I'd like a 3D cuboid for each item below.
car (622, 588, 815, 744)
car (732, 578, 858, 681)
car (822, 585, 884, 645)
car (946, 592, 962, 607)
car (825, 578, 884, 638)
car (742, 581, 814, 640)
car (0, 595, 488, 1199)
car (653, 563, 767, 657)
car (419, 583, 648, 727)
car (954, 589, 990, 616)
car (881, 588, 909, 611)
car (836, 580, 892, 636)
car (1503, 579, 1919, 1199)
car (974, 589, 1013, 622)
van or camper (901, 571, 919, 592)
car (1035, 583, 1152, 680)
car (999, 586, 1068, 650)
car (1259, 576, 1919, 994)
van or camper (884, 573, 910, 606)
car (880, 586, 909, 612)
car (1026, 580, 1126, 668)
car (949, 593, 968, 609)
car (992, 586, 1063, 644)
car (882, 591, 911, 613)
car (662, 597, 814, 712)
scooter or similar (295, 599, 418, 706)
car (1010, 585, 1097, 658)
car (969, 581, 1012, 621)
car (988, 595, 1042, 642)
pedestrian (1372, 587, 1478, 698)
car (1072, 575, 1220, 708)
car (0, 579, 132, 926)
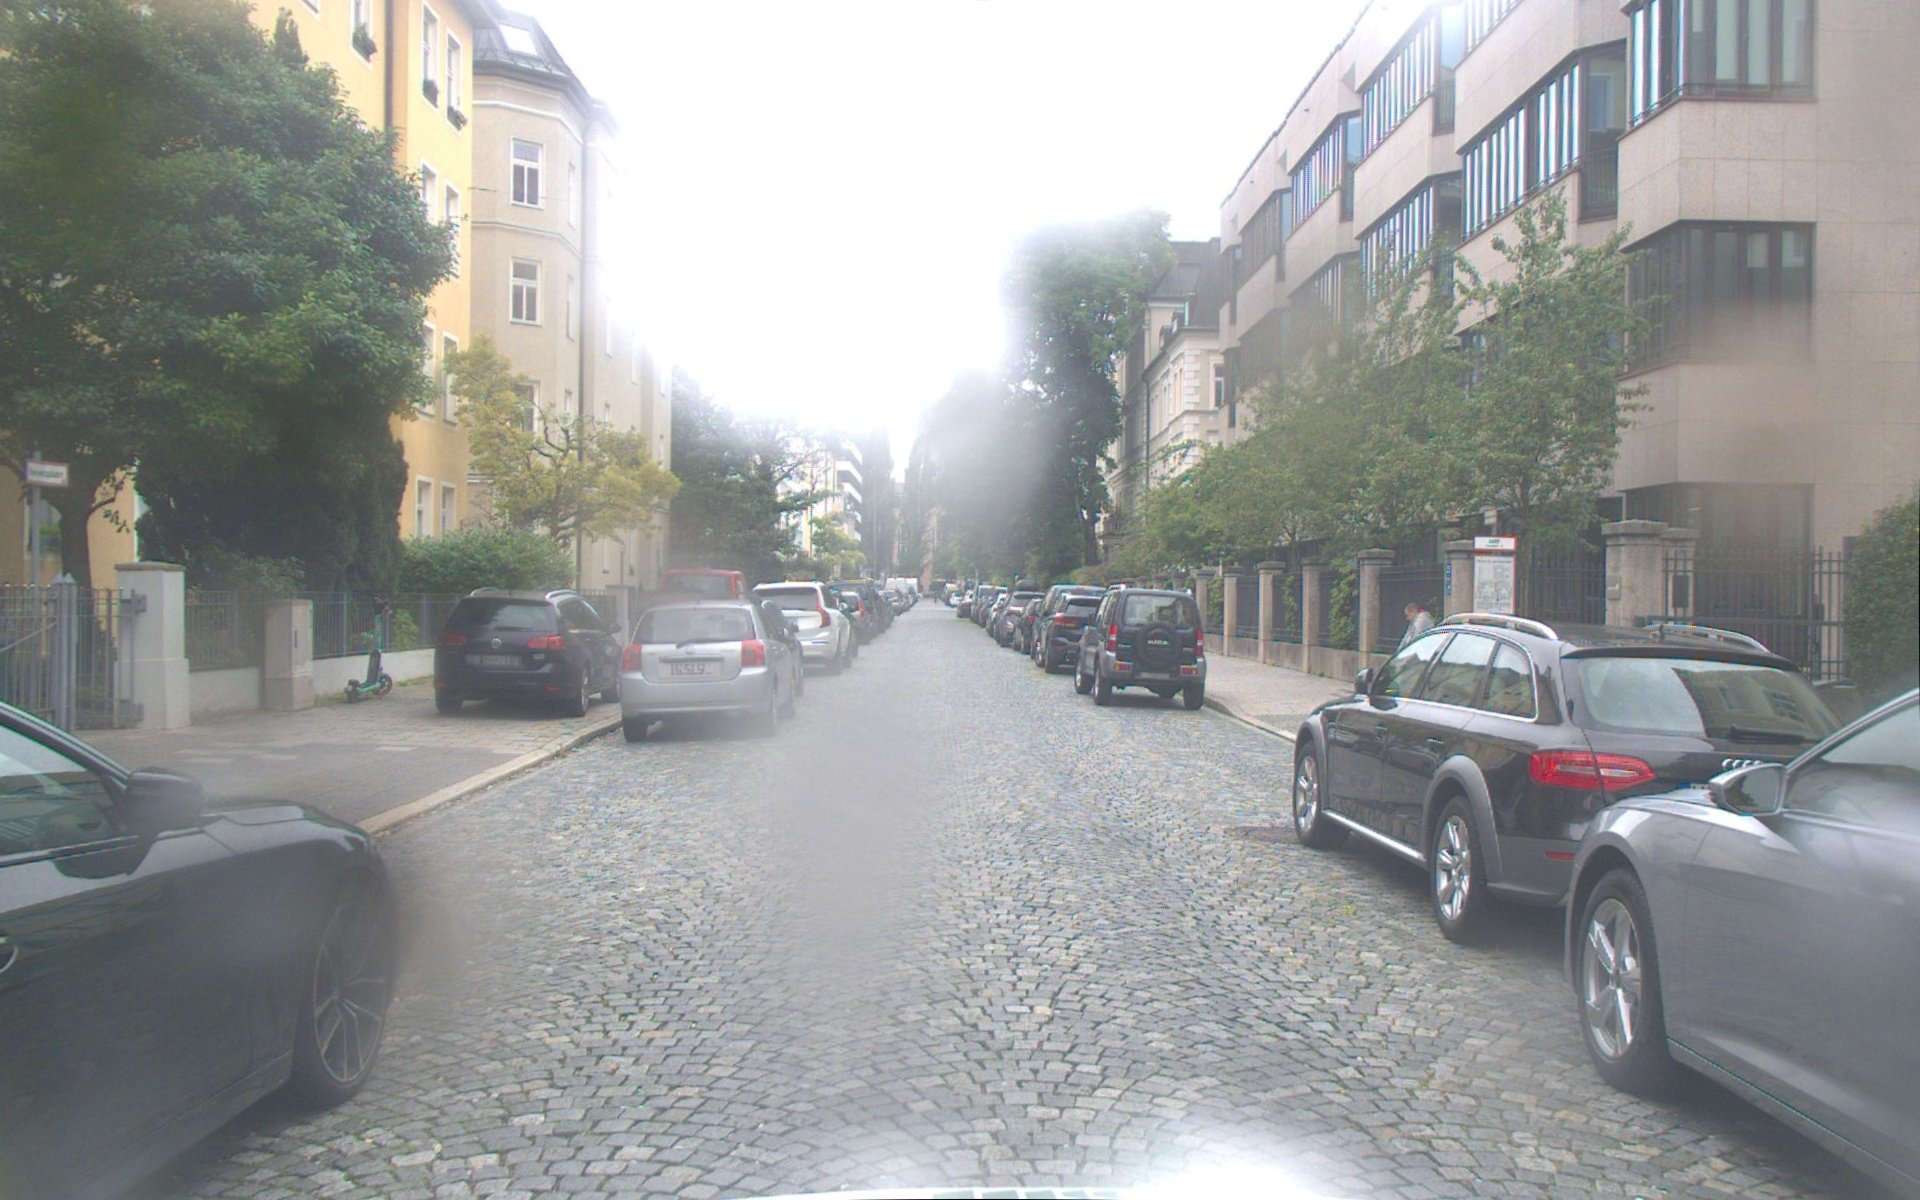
[{"bbox_3d":[-2.701,0.676,19.389,1.679,1.589,4.389,-1,0,-1],"label":"car"},{"bbox_3d":[-3.161,0.524,32.748,1.965,1.840,5.174,-1,0,0],"label":"car"},{"bbox_3d":[-3.373,0.432,52.261,1.828,1.765,4.400,-2,0,-4],"label":"car"},{"bbox_3d":[-0.654,-0.047,183.034,1.753,1.547,4.000,1,0,-1],"label":"car"},{"bbox_3d":[-3.609,0.249,57.344,1.835,1.950,4.825,-2,0,-2],"label":"car"},{"bbox_3d":[-5.974,0.310,54.791,1.906,1.765,4.656,3,0,-2],"label":"car"},{"bbox_3d":[-2.600,0.760,3.480,1.777,1.480,4.912,-2,0,0],"label":"car"},{"bbox_3d":[-5.678,0.201,38.248,1.954,1.964,5.328,2,0,-2],"label":"car"},{"bbox_3d":[-5.199,0.605,20.811,1.680,1.523,4.720,3,0,-1],"label":"car"},{"bbox_3d":[0.714,0.130,100.670,1.836,1.529,4.508,3,0,-3],"label":"car"},{"bbox_3d":[-4.526,-0.036,114.586,1.836,1.476,4.205,-1,0,-3],"label":"car"},{"bbox_3d":[-3.655,0.275,63.760,1.953,1.950,5.175,-3,0,-2],"label":"car"},{"bbox_3d":[3.095,0.781,3.856,1.953,1.579,4.985,2,0,0],"label":"car"},{"bbox_3d":[1.662,0.242,82.995,1.800,1.516,4.421,3,0,0],"label":"car"},{"bbox_3d":[-6.806,-2.531,225.862,2.210,2.790,5.097,1,0,-1],"label":"van or camper"},{"bbox_3d":[2.638,0.593,33.720,1.823,1.731,4.812,3,0,-1],"label":"car"},{"bbox_3d":[2.166,0.504,50.179,1.835,1.765,4.891,3,0,0],"label":"car"},{"bbox_3d":[3.151,0.734,9.075,1.953,1.579,5.013,3,0,-1],"label":"car"},{"bbox_3d":[-5.358,-0.926,141.312,1.953,2.698,4.000,-2,0,-1],"label":"van or camper"},{"bbox_3d":[-4.312,-0.051,108.508,1.836,1.607,4.253,-2,0,-3],"label":"car"},{"bbox_3d":[2.676,0.533,39.162,1.753,1.827,4.507,4,0,-3],"label":"car"},{"bbox_3d":[-0.165,0.062,162.322,1.753,1.547,4.000,1,0,-1],"label":"car"},{"bbox_3d":[2.226,0.472,55.998,1.836,1.765,4.744,4,0,-3],"label":"car"},{"bbox_3d":[-4.849,0.163,126.350,1.834,1.607,4.209,3,0,2],"label":"car"},{"bbox_3d":[-3.088,0.711,23.724,1.695,1.443,3.935,-2,0,-1],"label":"car"},{"bbox_3d":[-7.474,0.626,20.564,0.937,1.221,1.522,3,0,-1],"label":"scooter or similar"},{"bbox_3d":[2.497,0.544,45.137,1.836,1.765,4.657,4,0,-2],"label":"car"},{"bbox_3d":[1.595,0.045,88.706,1.836,1.962,5.161,3,0,-3],"label":"car"},{"bbox_3d":[1.981,0.655,61.127,1.835,1.516,4.617,3,1,1],"label":"car"},{"bbox_3d":[6.692,0.596,23.871,1.192,1.519,1.129,-2,0,1],"label":"pedestrian"},{"bbox_3d":[2.746,0.571,25.241,1.586,1.781,3.885,3,0,-2],"label":"car"},{"bbox_3d":[-4.865,0.621,5.656,1.739,1.441,4.561,2,0,0],"label":"car"}]
